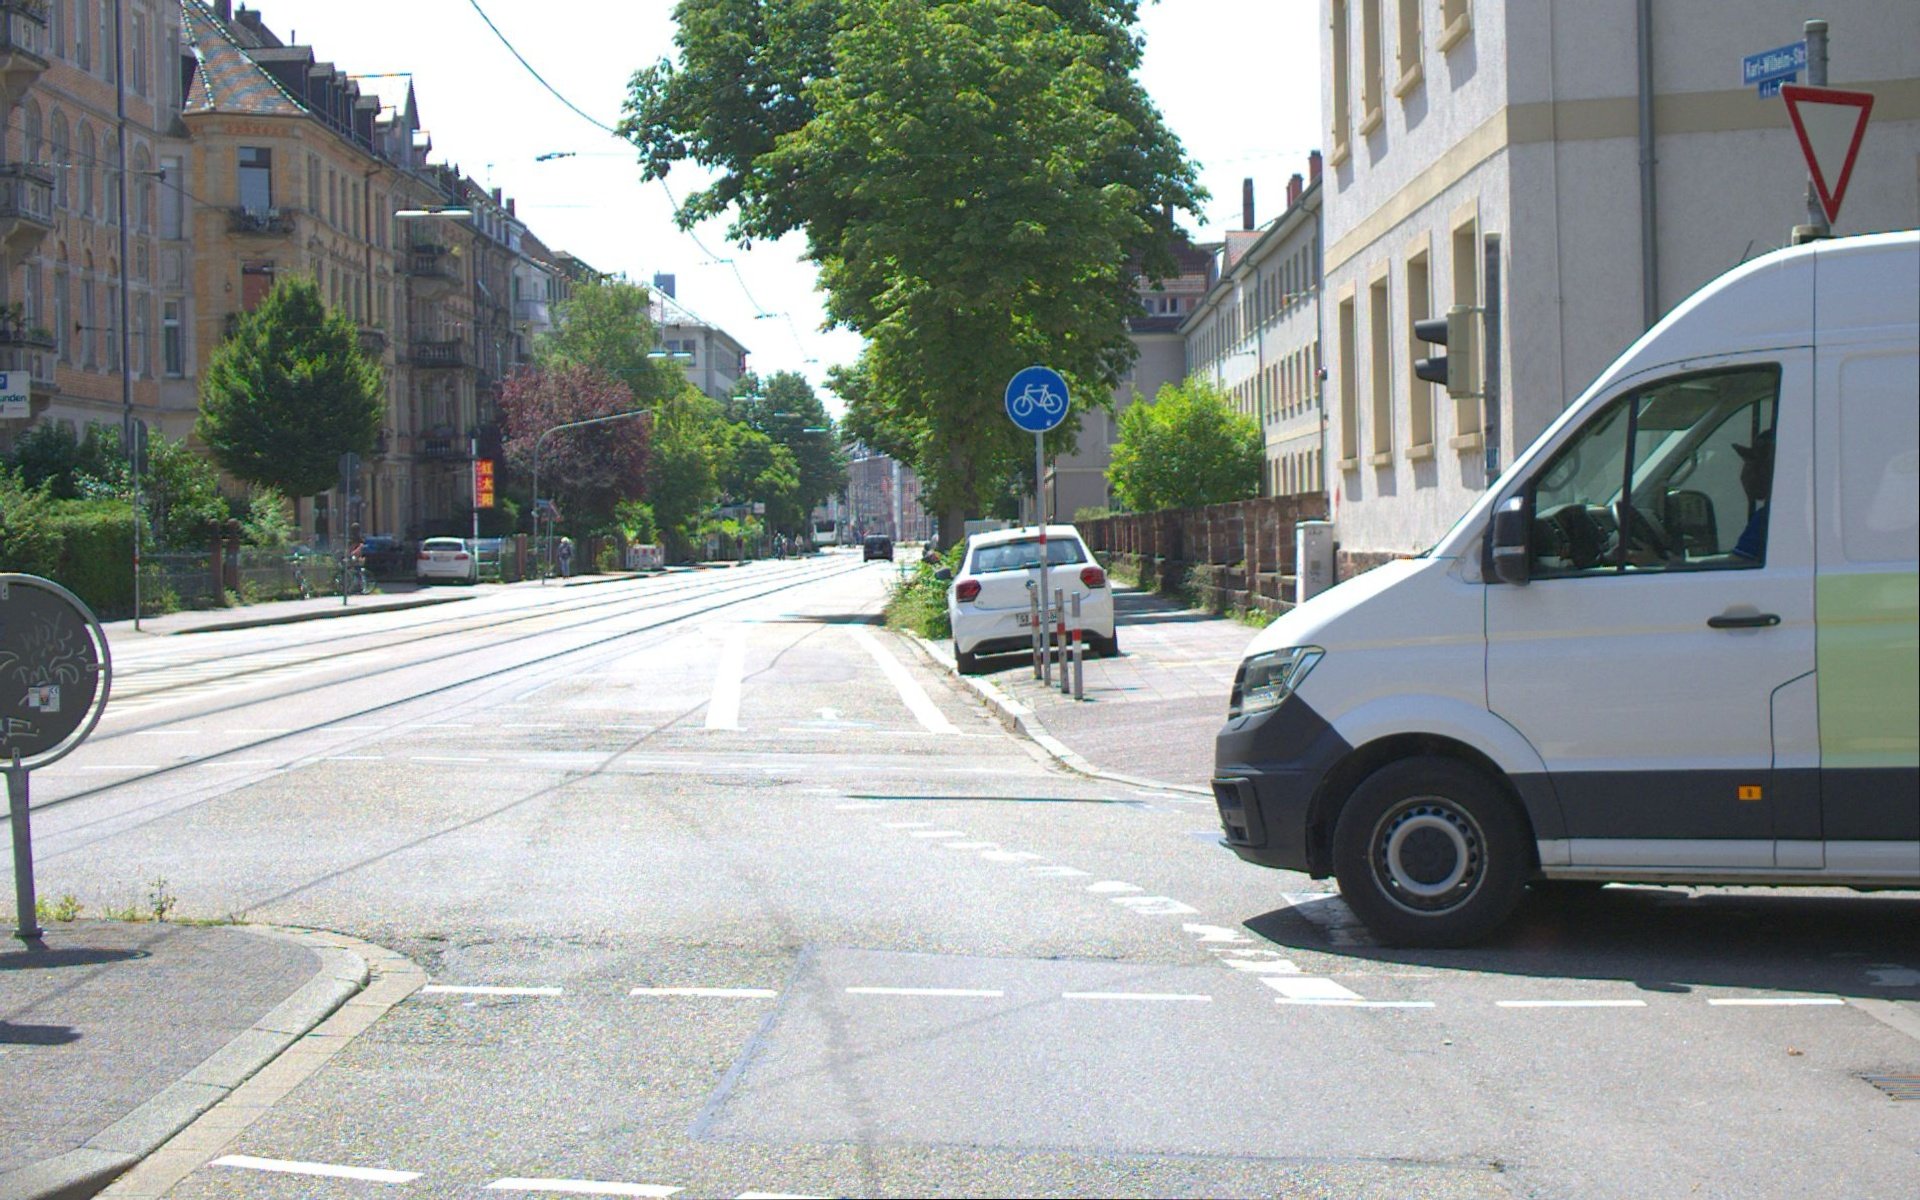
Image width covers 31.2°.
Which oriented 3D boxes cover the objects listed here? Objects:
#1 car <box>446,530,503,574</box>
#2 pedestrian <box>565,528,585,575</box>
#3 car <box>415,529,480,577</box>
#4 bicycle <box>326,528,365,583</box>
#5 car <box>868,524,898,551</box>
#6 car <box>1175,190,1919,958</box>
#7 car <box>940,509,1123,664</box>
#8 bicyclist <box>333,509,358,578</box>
[{"bbox_3d":[-17.483,-1.732,123.938,1.628,1.467,3.564,-4,1,-3],"label":"car"},{"bbox_3d":[-14.447,-1.817,128.960,0.678,1.721,0.677,0,1,-1],"label":"pedestrian"},{"bbox_3d":[-17.208,-1.572,115.598,1.684,1.467,3.939,-4,1,-3],"label":"car"},{"bbox_3d":[-15.741,-1.150,88.114,0.577,1.383,2.501,0,1,-1],"label":"bicycle"},{"bbox_3d":[-4.265,-3.482,191.794,1.525,1.439,3.365,-2,1,0],"label":"car"},{"bbox_3d":[3.873,-0.115,12.343,5.840,2.581,1.997,0,1,27],"label":"car"},{"bbox_3d":[0.724,-0.169,37.208,1.747,1.467,3.938,-4,1,-1],"label":"car"},{"bbox_3d":[-15.732,-1.458,87.989,0.542,1.757,0.498,0,1,-1],"label":"bicyclist"}]
